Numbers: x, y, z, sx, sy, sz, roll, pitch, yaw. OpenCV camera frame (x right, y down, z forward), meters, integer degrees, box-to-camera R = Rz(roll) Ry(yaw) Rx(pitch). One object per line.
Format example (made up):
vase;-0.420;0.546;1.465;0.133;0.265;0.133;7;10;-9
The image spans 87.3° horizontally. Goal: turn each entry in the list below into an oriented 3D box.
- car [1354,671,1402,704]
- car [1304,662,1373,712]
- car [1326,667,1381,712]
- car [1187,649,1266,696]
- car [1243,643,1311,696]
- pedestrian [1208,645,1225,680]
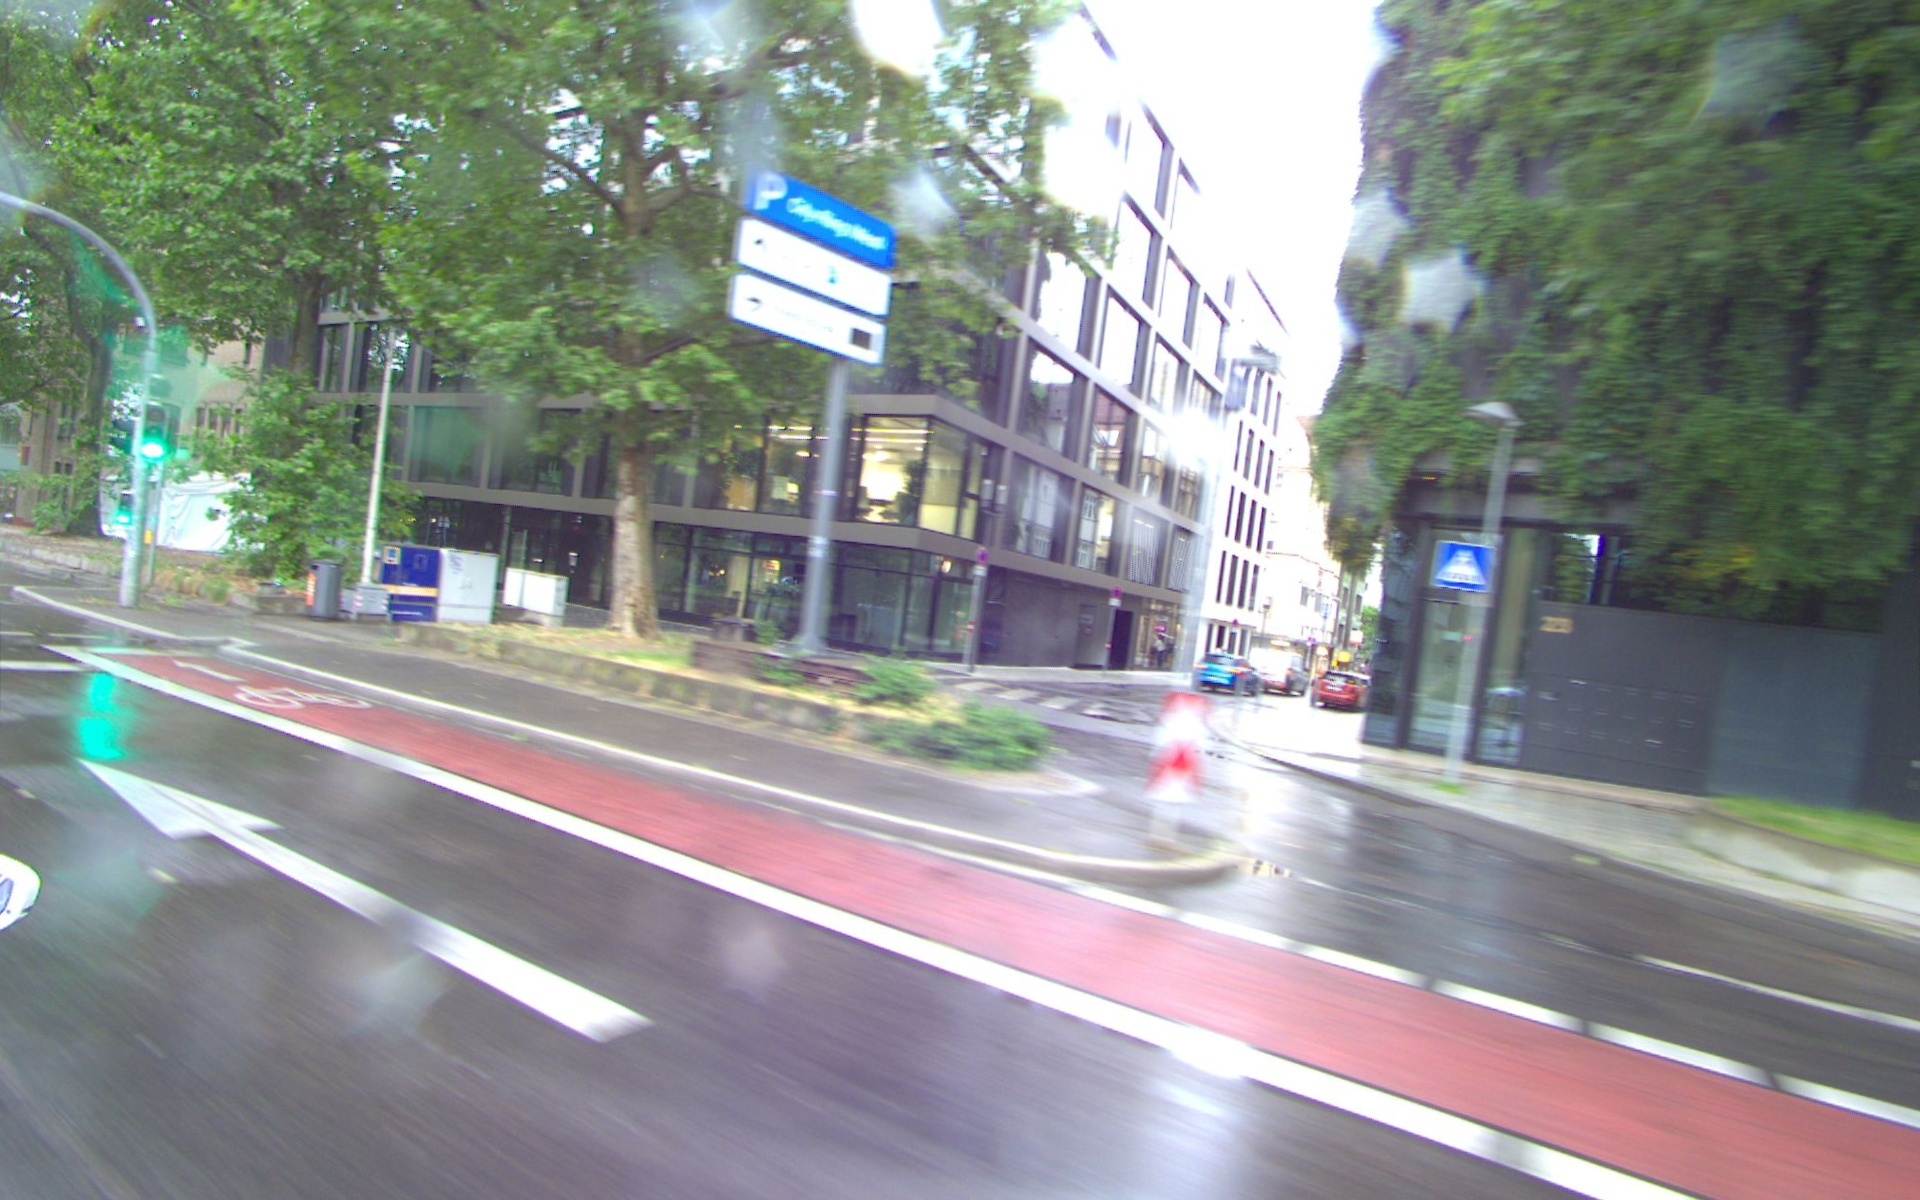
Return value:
car;22.212;4.647;53.386;1.814;1.402;3.998;6;-3;29
car;14.800;3.412;39.192;1.814;1.607;3.998;6;-3;29
car;16.957;3.865;43.241;1.754;1.607;3.801;6;-3;27
car;9.832;2.666;36.922;1.770;1.453;4.058;6;-1;28
car;14.117;3.142;44.546;1.892;1.968;4.962;6;-2;28
pedestrian;12.187;2.969;47.829;0.537;1.579;0.503;6;-1;28
